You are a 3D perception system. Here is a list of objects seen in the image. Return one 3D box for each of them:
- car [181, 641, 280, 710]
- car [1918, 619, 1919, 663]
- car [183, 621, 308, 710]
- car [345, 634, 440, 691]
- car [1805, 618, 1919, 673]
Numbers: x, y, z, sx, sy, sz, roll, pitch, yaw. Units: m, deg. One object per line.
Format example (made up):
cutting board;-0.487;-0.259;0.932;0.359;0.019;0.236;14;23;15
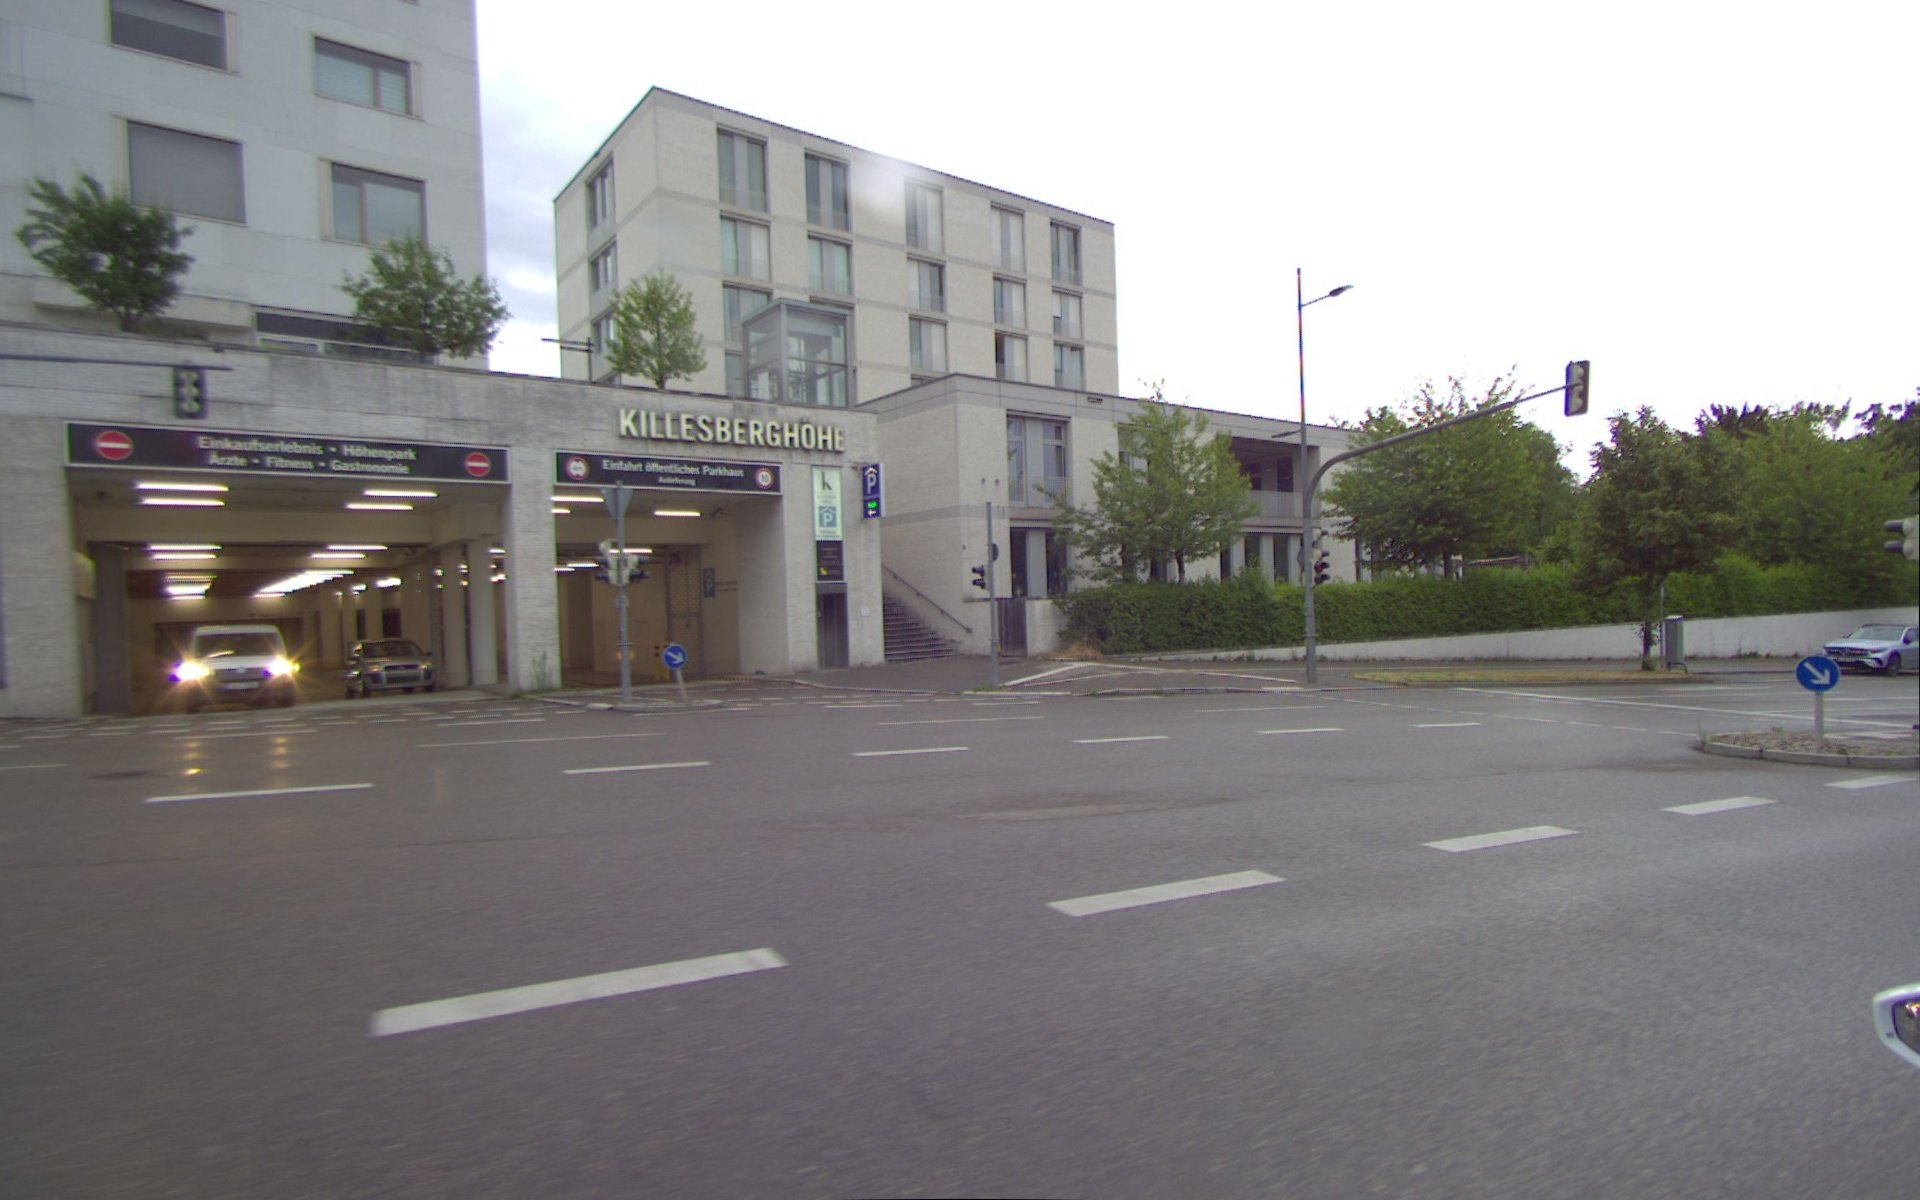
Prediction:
car;-19.986;2.097;27.464;1.919;1.727;3.956;1;-6;-40
car;37.262;1.579;36.619;4.162;1.596;1.870;1;1;-23
car;-15.324;1.320;21.455;1.911;1.694;4.466;2;-2;-38
car;-14.944;1.575;26.382;1.647;1.369;3.665;1;-2;-38
car;30.659;1.503;33.647;4.033;1.662;1.849;1;2;-21
